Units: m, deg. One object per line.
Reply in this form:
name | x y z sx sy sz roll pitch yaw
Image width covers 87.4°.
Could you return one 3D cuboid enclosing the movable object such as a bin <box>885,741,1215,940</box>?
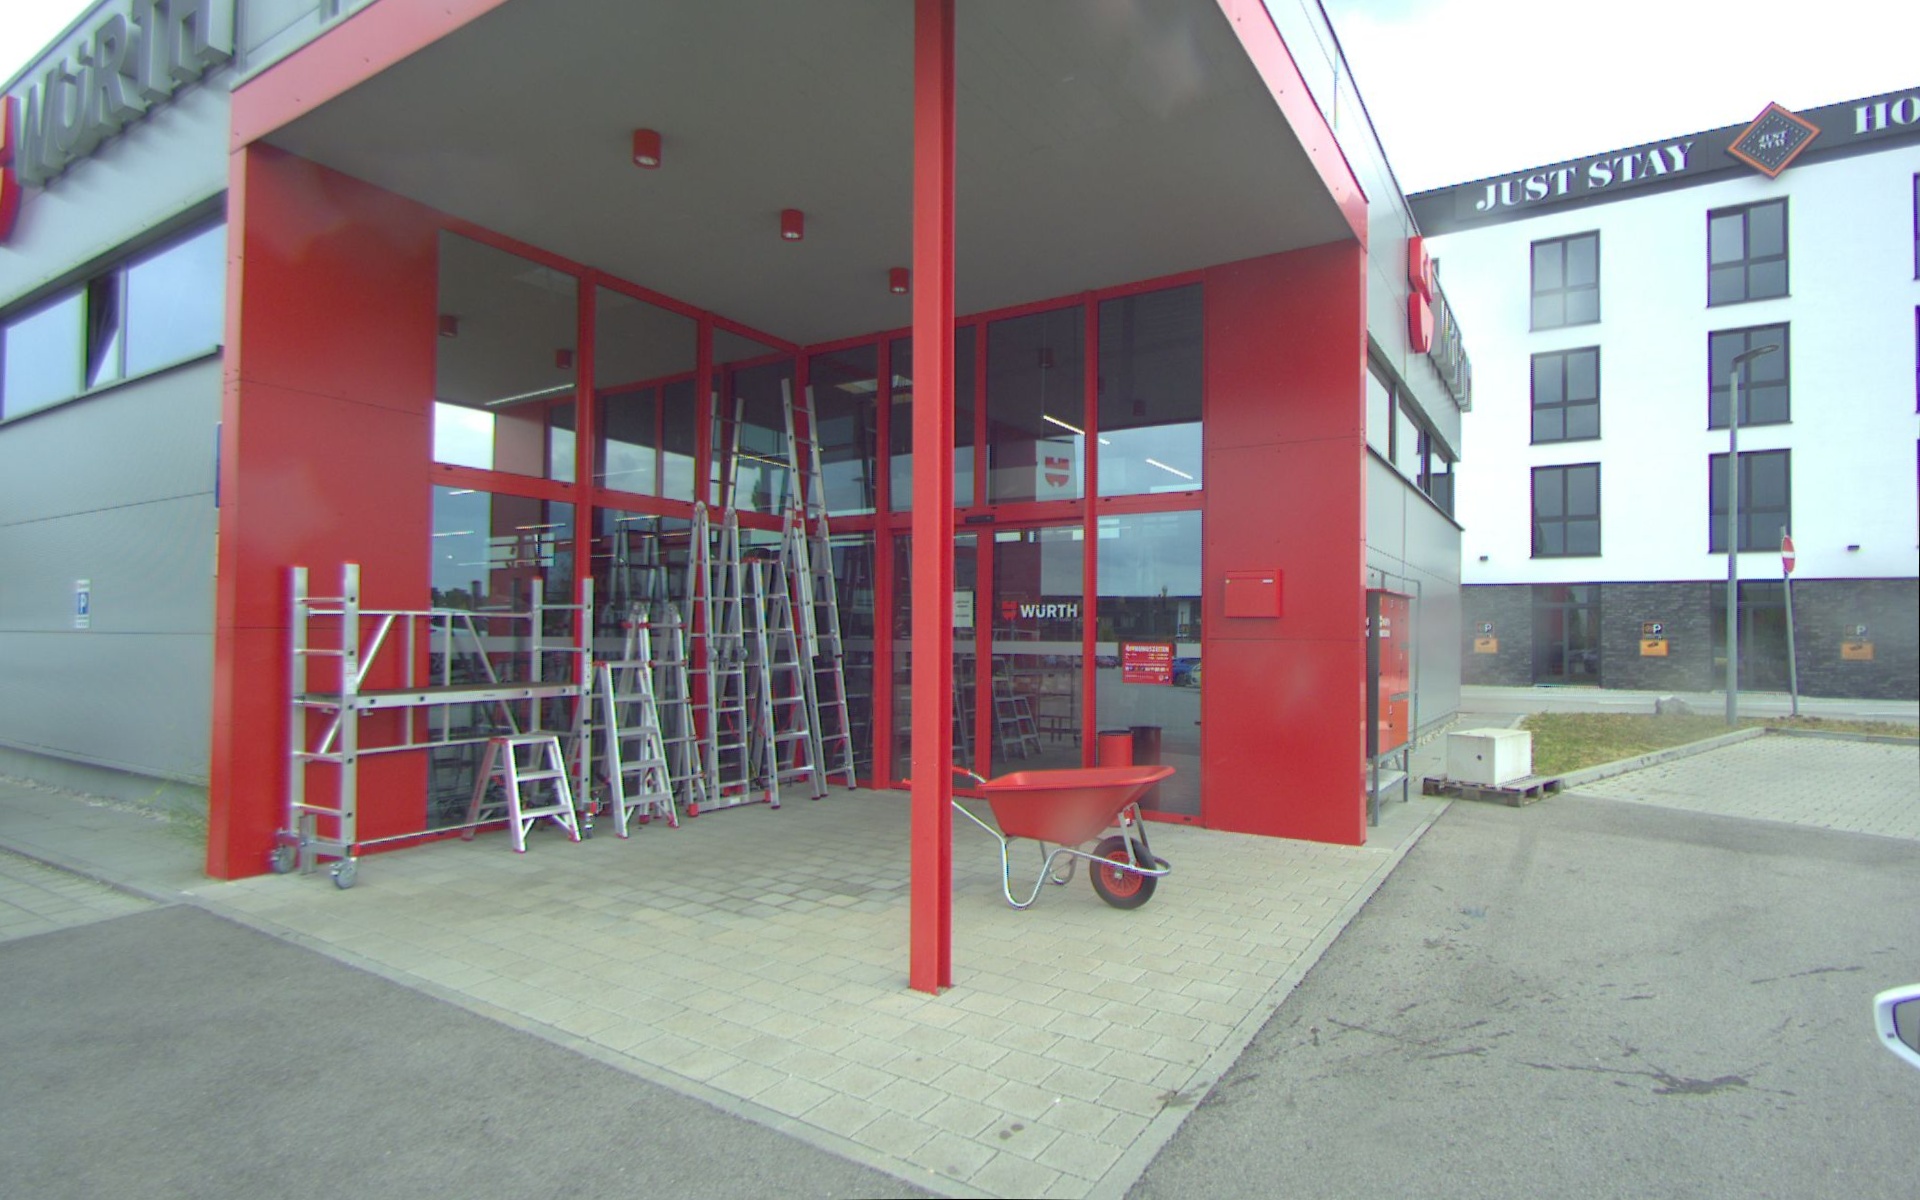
movable object such as a bin | 0.457 1.197 5.325 1.558 0.725 0.801 -1 -2 34
